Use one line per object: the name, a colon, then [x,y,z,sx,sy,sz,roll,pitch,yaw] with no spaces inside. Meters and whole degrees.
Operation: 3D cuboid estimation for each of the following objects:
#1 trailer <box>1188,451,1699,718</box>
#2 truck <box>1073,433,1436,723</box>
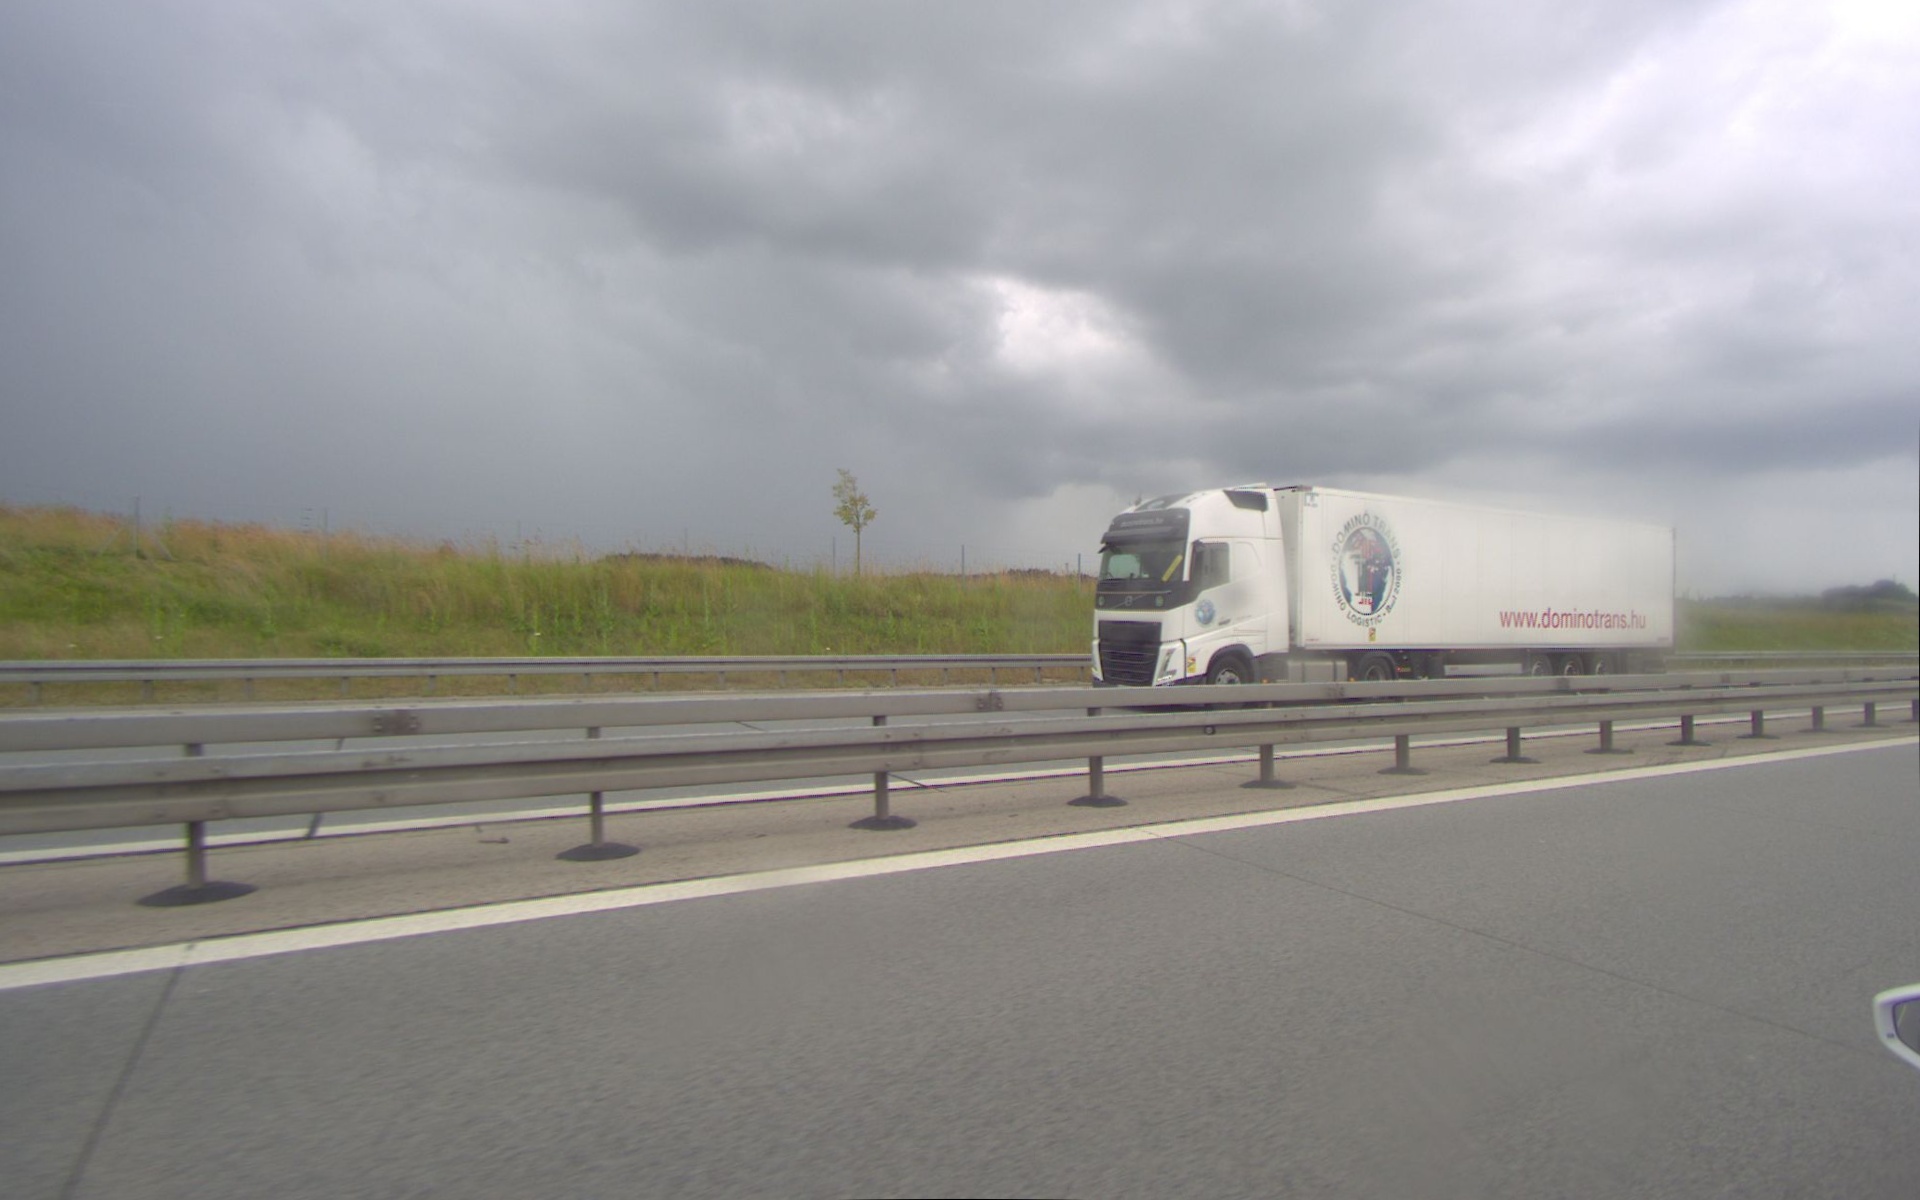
trailer: [11.597,-0.105,22.722,14.674,4.712,2.782,1,-1,-31]
truck: [5.756,-0.276,19.269,6.839,4.709,2.782,1,-1,-31]
